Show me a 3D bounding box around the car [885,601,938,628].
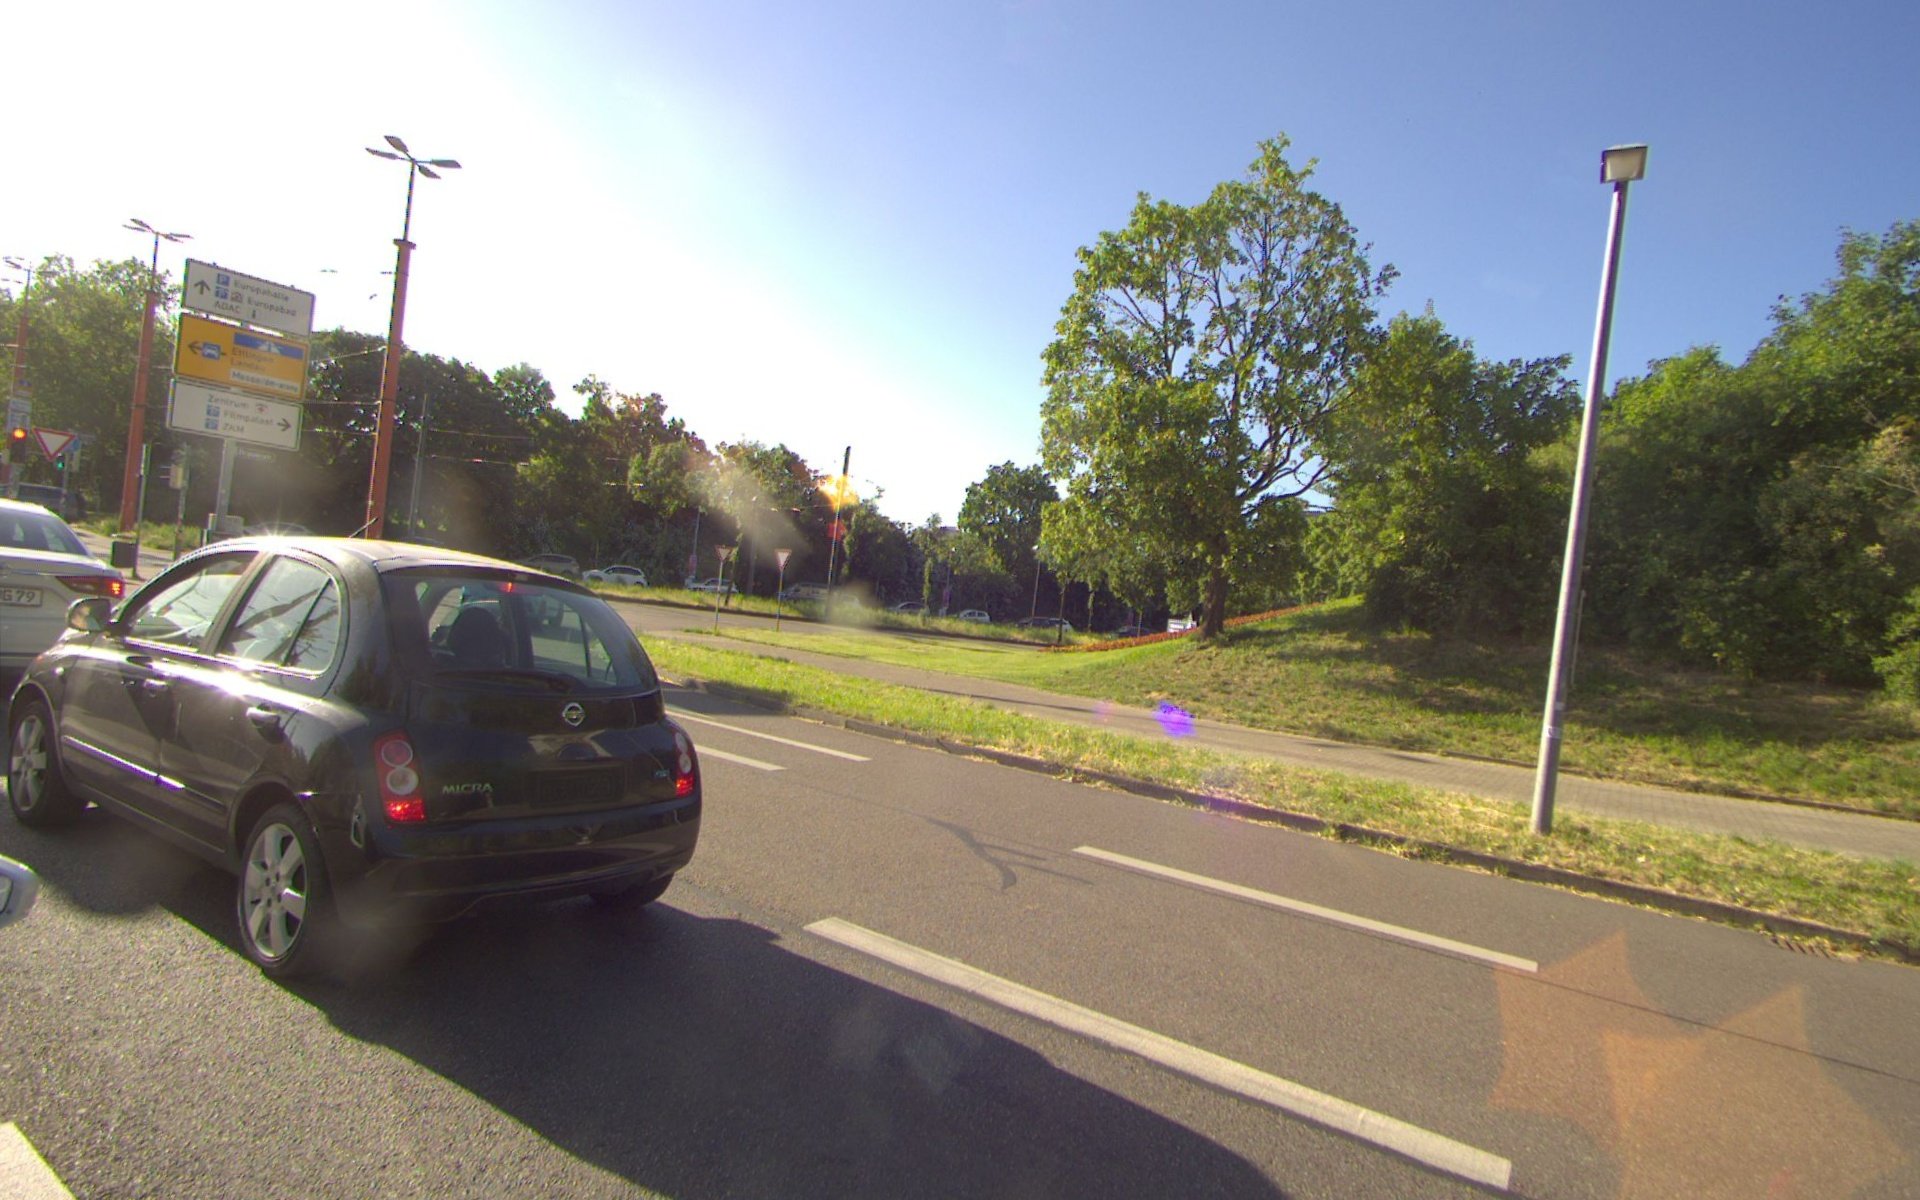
[{"bbox_3d":[-3.447,1.065,71.821,3.369,1.475,1.453,8,-1,-31],"label":"car"}]

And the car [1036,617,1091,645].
[{"bbox_3d":[8.481,2.547,82.350,4.195,1.701,1.690,8,-1,-29],"label":"car"}]

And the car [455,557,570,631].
[{"bbox_3d":[-10.761,-0.145,24.476,1.712,1.468,4.121,6,-1,-14],"label":"car"}]

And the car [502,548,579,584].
[{"bbox_3d":[-26.094,-2.129,62.570,4.088,1.663,1.839,8,-1,-30],"label":"car"}]

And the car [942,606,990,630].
[{"bbox_3d":[0.495,1.394,77.592,3.413,1.384,1.280,9,-2,-31],"label":"car"}]

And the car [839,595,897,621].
[{"bbox_3d":[-6.723,0.590,73.755,3.804,1.278,1.590,9,-3,-32],"label":"car"}]

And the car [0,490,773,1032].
[{"bbox_3d":[-2.847,0.468,4.718,3.555,1.518,1.657,7,-2,32],"label":"car"}]

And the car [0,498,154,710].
[{"bbox_3d":[-8.352,-0.171,8.017,4.130,1.454,1.723,7,-2,33],"label":"car"}]

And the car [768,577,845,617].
[{"bbox_3d":[-10.339,-0.206,67.723,4.531,2.038,1.987,8,0,-27],"label":"car"}]

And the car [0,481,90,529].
[{"bbox_3d":[-43.816,-4.552,47.203,4.152,1.663,1.746,9,-2,-32],"label":"car"}]

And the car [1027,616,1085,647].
[{"bbox_3d":[7.315,2.368,76.543,3.960,1.776,1.903,9,-2,-31],"label":"car"}]

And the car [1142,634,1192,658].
[{"bbox_3d":[18.241,4.050,88.627,3.959,1.612,1.884,9,-2,-30],"label":"car"}]

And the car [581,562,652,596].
[{"bbox_3d":[-20.911,-1.249,61.258,3.790,1.541,1.682,8,-1,-30],"label":"car"}]

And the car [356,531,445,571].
[{"bbox_3d":[-30.661,-2.661,55.195,4.089,1.617,1.814,8,-1,-31],"label":"car"}]

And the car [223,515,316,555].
[{"bbox_3d":[-37.375,-3.507,54.577,3.937,1.457,1.674,9,-2,-31],"label":"car"}]

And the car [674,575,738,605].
[{"bbox_3d":[-16.931,-0.643,67.120,3.710,1.491,1.587,8,-1,-32],"label":"car"}]

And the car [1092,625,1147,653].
[{"bbox_3d":[12.673,3.135,79.868,3.962,1.662,1.792,9,-2,-33],"label":"car"}]
